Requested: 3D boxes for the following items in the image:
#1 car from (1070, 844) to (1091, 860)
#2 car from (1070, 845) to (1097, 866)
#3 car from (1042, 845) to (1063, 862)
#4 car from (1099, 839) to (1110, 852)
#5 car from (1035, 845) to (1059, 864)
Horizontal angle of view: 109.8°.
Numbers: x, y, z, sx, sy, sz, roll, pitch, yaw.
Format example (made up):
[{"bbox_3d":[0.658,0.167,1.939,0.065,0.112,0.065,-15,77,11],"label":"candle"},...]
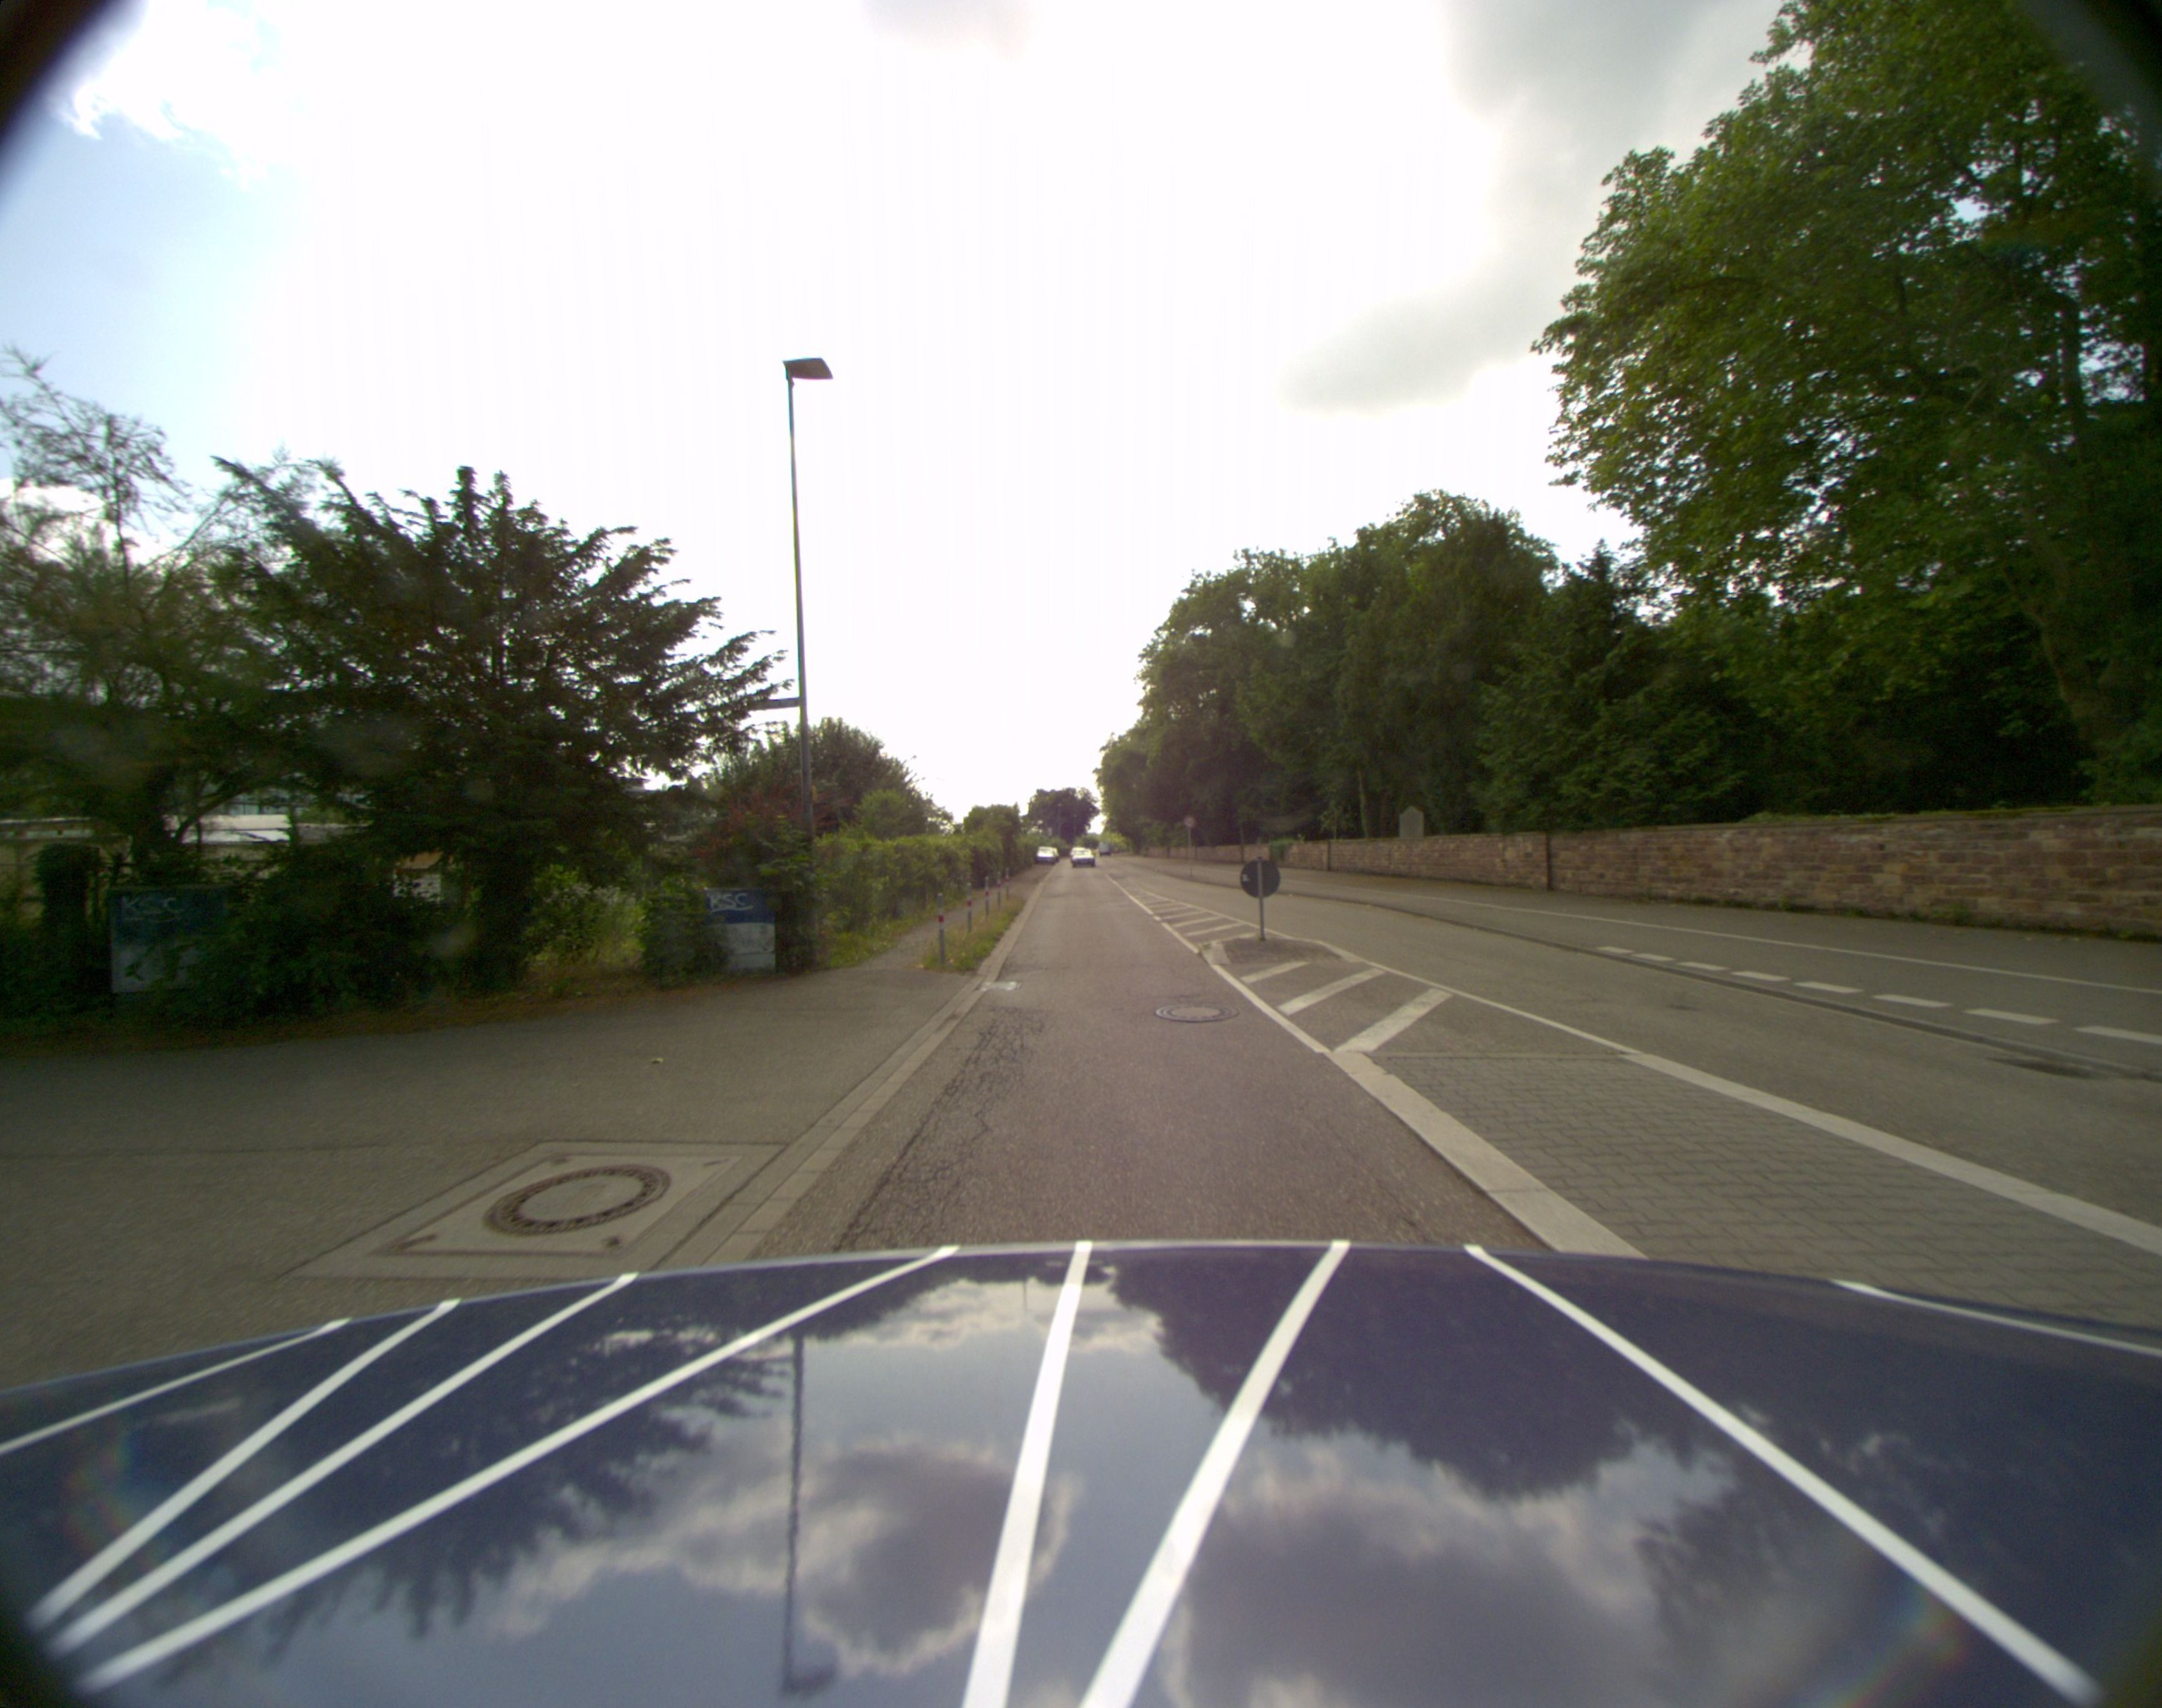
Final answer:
[{"bbox_3d":[-0.059,-0.154,75.561,1.965,1.455,4.530,0,-1,0],"label":"car"},{"bbox_3d":[0.194,0.166,60.111,1.965,1.455,4.530,-3,-2,0],"label":"car"},{"bbox_3d":[-2.893,-0.051,78.496,1.799,1.652,4.001,-3,0,1],"label":"car"},{"bbox_3d":[4.227,-1.560,137.994,1.998,2.221,4.375,-1,1,1],"label":"car"},{"bbox_3d":[-3.046,0.054,68.947,1.799,1.652,4.001,-3,0,1],"label":"car"}]
